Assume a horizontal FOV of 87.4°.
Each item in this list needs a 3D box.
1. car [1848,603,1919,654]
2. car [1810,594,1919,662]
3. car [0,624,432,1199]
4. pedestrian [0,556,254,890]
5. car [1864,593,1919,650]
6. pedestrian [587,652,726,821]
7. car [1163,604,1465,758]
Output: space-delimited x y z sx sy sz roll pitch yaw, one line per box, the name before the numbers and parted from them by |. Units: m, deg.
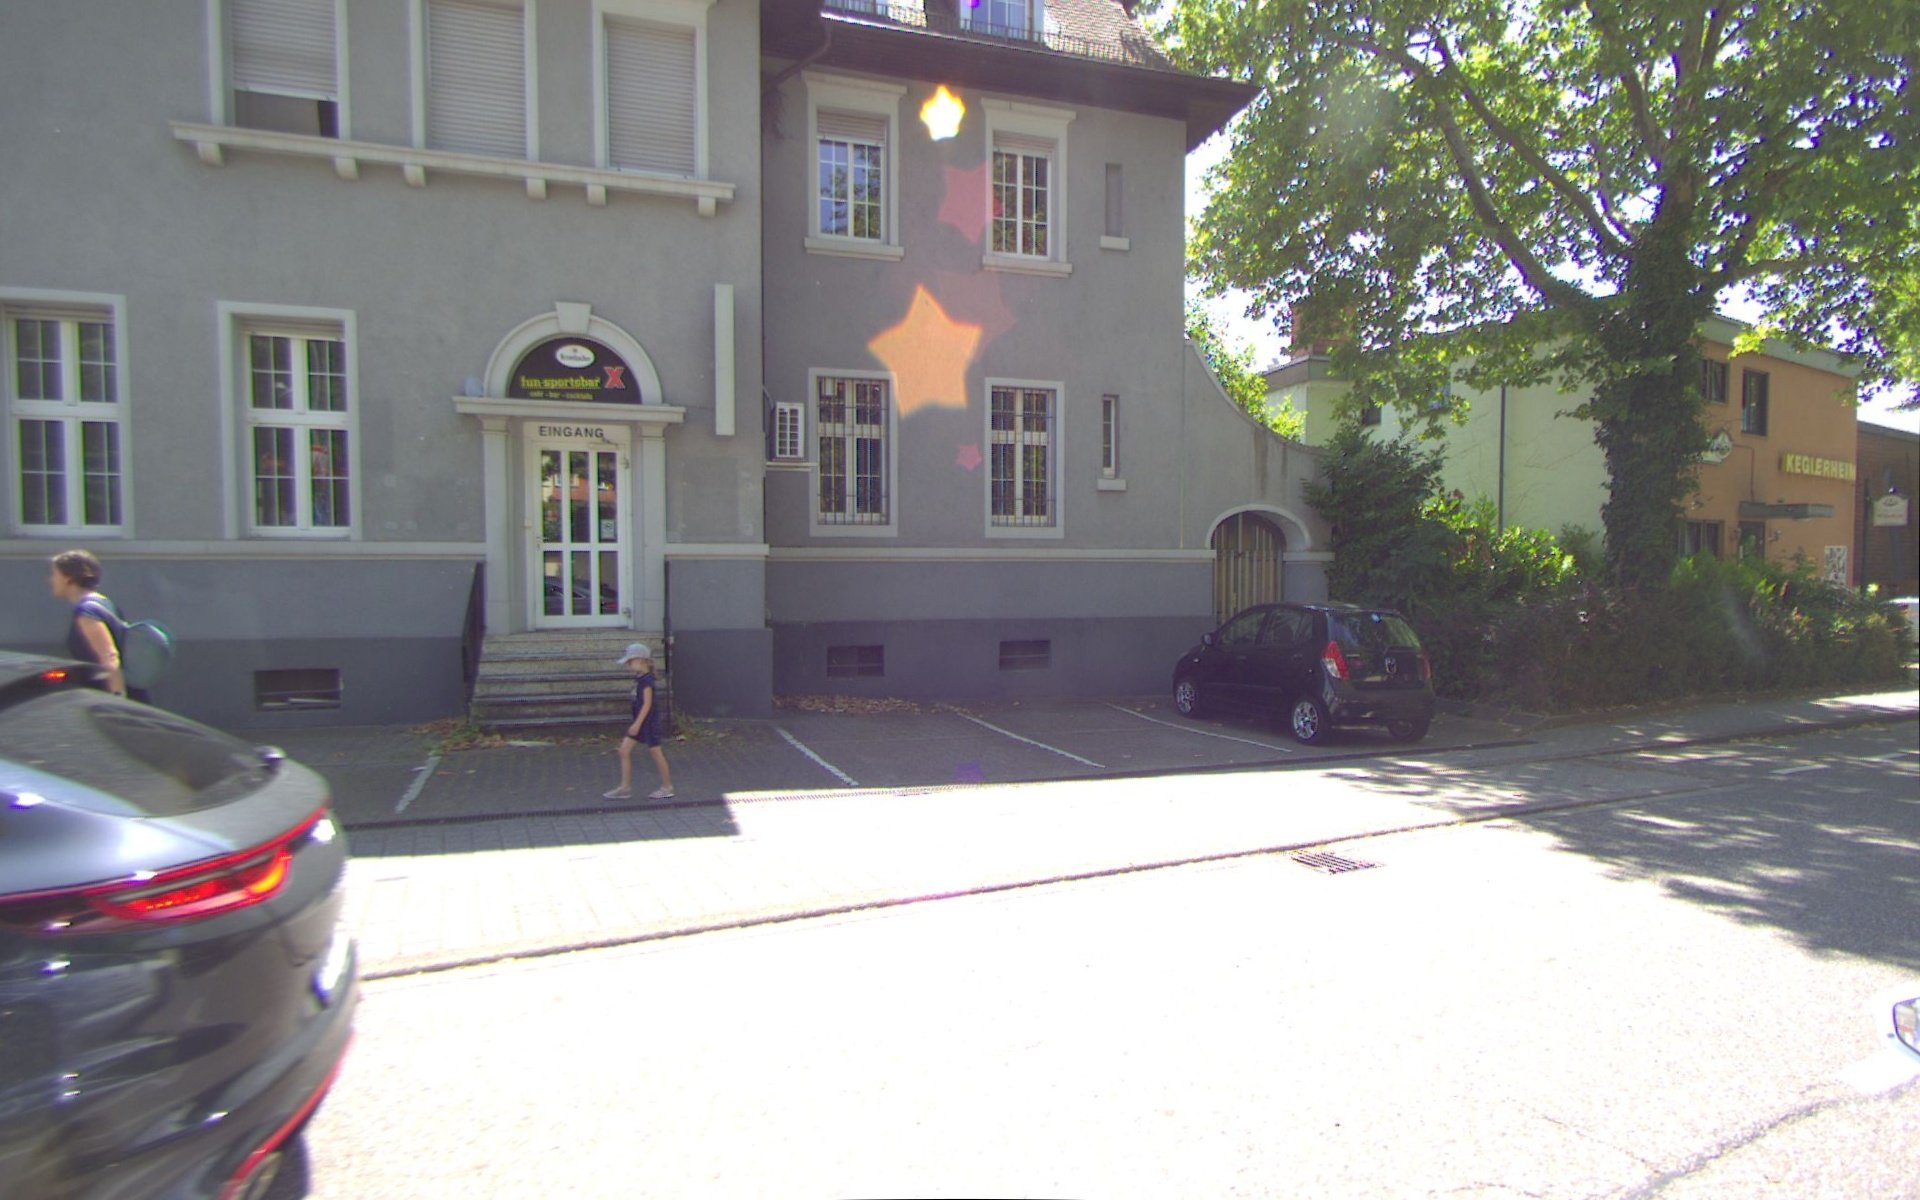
car | 31.032 0.950 31.852 1.849 1.536 3.961 1 2 -34
car | 27.410 0.816 29.019 1.849 1.817 3.961 1 2 -34
car | -3.288 0.775 1.567 4.338 1.445 1.761 1 0 -29
pedestrian | -4.897 0.657 5.877 1.097 1.765 0.869 1 0 -25
car | 33.048 0.790 33.171 1.884 1.828 4.395 1 2 -34
pedestrian | -2.285 0.979 7.527 0.885 1.137 0.751 1 0 -25
car | 4.139 0.850 12.272 1.699 1.567 3.375 1 0 -21
